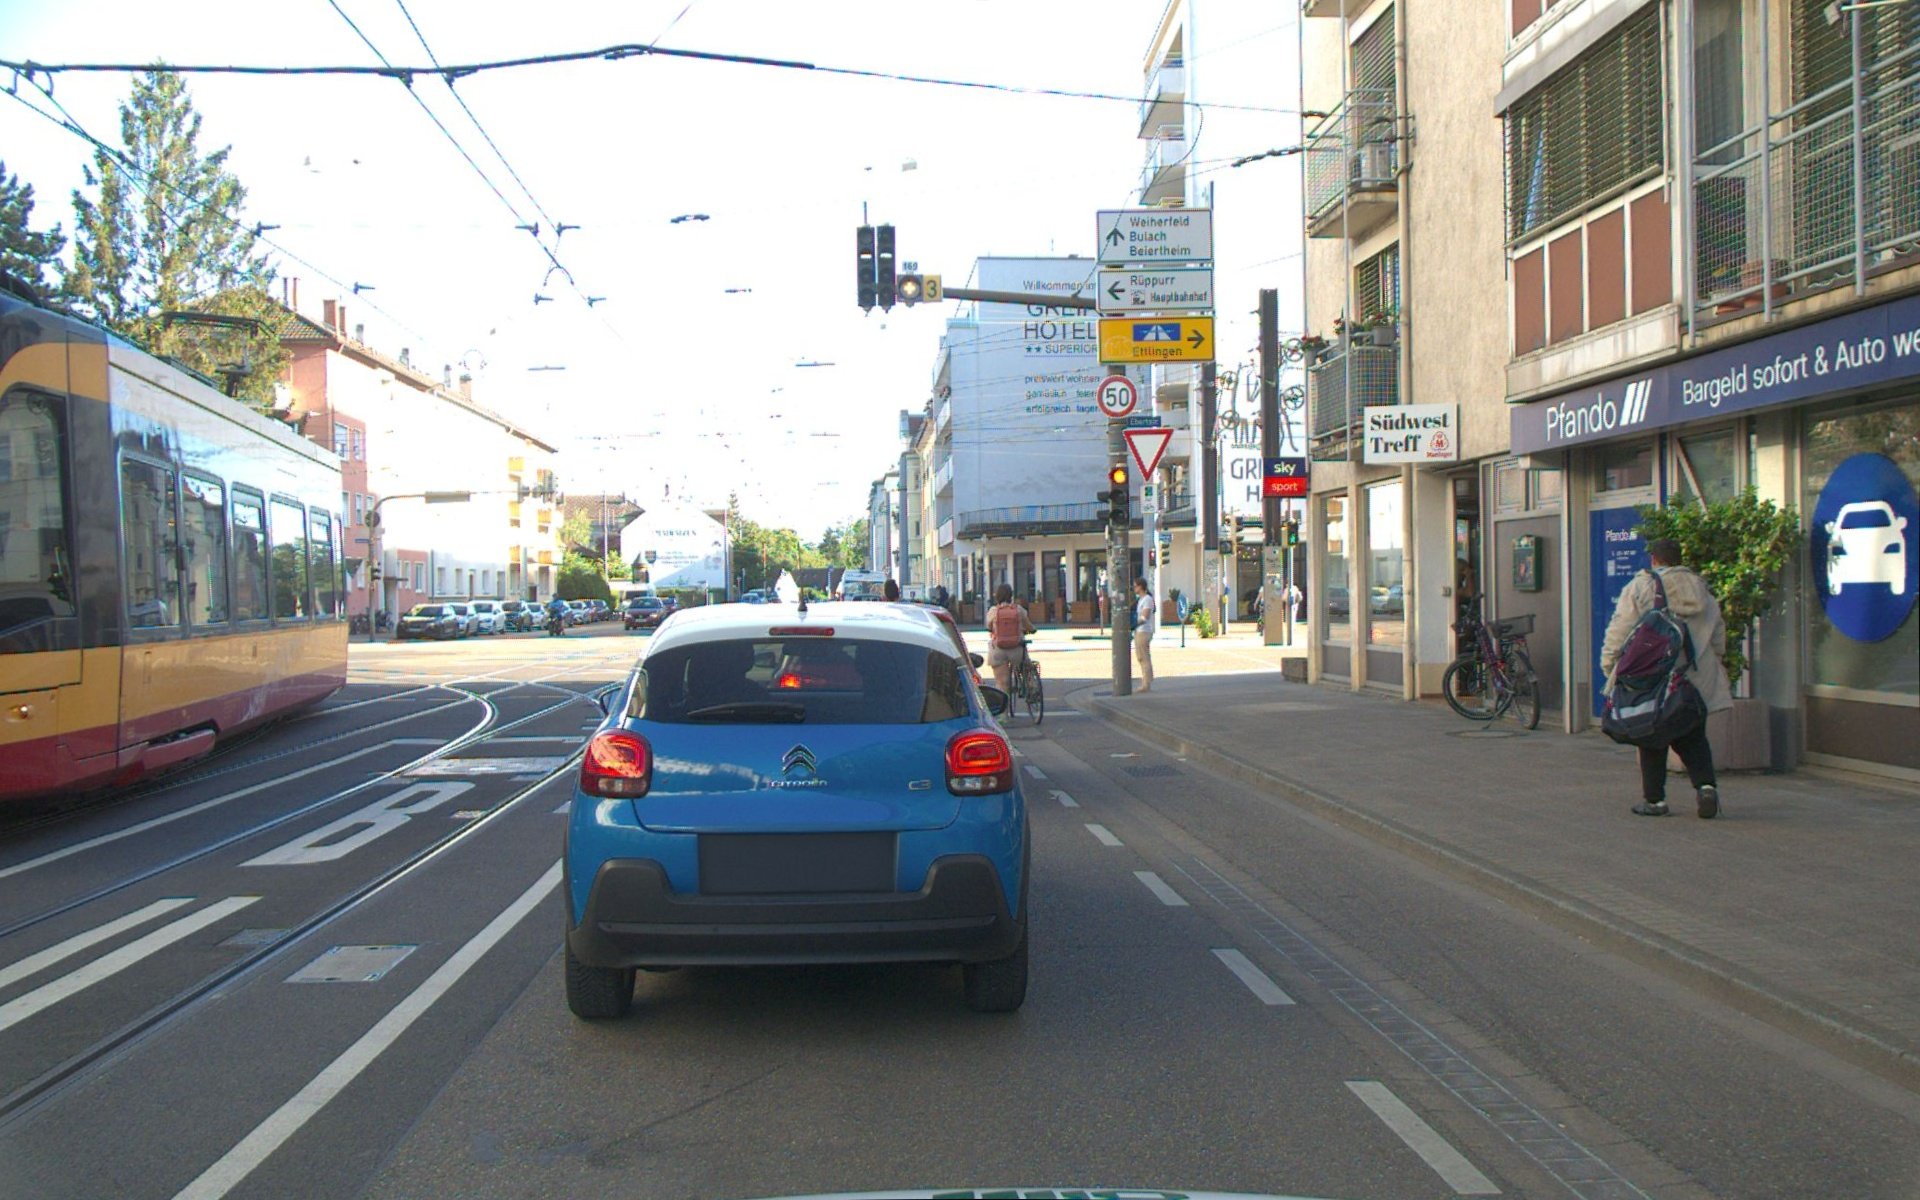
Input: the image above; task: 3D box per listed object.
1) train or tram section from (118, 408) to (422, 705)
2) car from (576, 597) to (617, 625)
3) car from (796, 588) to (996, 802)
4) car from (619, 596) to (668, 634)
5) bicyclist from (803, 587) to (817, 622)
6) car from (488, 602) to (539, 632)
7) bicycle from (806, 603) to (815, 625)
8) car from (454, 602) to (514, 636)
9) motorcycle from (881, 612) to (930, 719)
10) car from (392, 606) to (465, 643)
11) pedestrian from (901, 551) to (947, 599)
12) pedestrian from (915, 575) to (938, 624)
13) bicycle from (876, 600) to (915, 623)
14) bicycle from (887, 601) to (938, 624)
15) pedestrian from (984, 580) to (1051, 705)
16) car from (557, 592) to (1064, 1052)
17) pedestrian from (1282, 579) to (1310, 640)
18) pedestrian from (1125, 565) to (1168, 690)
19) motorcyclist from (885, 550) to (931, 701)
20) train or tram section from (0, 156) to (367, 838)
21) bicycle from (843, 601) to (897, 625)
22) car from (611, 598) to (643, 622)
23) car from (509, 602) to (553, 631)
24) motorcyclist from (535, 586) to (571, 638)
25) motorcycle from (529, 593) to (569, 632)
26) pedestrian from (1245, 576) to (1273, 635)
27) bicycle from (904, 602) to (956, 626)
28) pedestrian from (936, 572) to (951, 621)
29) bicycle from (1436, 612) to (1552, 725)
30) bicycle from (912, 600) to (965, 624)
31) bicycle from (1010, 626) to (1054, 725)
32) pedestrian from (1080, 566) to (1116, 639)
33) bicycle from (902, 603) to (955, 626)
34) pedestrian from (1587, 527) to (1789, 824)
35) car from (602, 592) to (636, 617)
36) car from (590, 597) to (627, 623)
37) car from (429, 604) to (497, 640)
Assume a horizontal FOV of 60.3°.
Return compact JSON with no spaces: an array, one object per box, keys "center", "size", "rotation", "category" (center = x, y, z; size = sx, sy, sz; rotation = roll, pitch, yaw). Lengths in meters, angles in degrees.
[{"center":[-10.124,-0.533,25.321],"size":[2.777,3.694,9.053],"rotation":[1,0,-13],"category":"train or tram section"},{"center":[-23.218,0.694,105.771],"size":[1.944,1.716,3.997],"rotation":[1,0,-4],"category":"car"},{"center":[-0.474,0.685,13.216],"size":[1.395,1.493,2.923],"rotation":[-1,0,-1],"category":"car"},{"center":[-14.548,0.685,76.194],"size":[1.740,1.695,3.853],"rotation":[1,0,-4],"category":"car"},{"center":[-6.509,0.181,71.784],"size":[0.550,1.503,0.746],"rotation":[1,-1,-10],"category":"bicyclist"},{"center":[-23.095,0.872,85.656],"size":[1.750,1.524,3.997],"rotation":[1,0,-4],"category":"car"},{"center":[-6.491,0.601,71.663],"size":[0.342,0.919,1.856],"rotation":[1,0,-7],"category":"bicycle"},{"center":[-22.700,0.878,79.006],"size":[1.751,1.537,4.148],"rotation":[1,0,-2],"category":"car"},{"center":[-0.619,0.734,19.401],"size":[0.515,1.159,2.289],"rotation":[1,0,-1],"category":"motorcycle"},{"center":[-21.957,1.007,68.466],"size":[1.757,1.446,3.994],"rotation":[1,0,-2],"category":"car"},{"center":[-1.605,-1.084,73.509],"size":[1.953,2.049,3.999],"rotation":[1,0,-1],"category":"pedestrian"},{"center":[-1.408,-0.030,69.155],"size":[0.625,2.049,0.715],"rotation":[1,-1,-37],"category":"pedestrian"},{"center":[-2.697,0.481,69.360],"size":[1.751,0.917,0.365],"rotation":[1,-1,34],"category":"bicycle"},{"center":[-1.964,0.502,68.262],"size":[2.093,0.917,0.366],"rotation":[1,-1,-10],"category":"bicycle"},{"center":[0.697,0.514,20.249],"size":[0.761,1.486,0.681],"rotation":[1,-1,-1],"category":"pedestrian"},{"center":[-0.507,0.731,7.133],"size":[1.620,1.469,3.522],"rotation":[1,0,-1],"category":"car"},{"center":[9.422,0.273,46.359],"size":[0.736,1.686,0.884],"rotation":[1,-1,11],"category":"pedestrian"},{"center":[2.739,0.398,24.334],"size":[0.507,1.814,0.595],"rotation":[1,-1,-3],"category":"pedestrian"},{"center":[-0.611,0.293,19.591],"size":[0.516,1.746,0.717],"rotation":[1,-1,-1],"category":"motorcyclist"},{"center":[-7.670,-0.512,14.712],"size":[3.009,3.656,12.587],"rotation":[-1,0,-13],"category":"train or tram section"},{"center":[-3.604,0.526,66.147],"size":[2.093,0.917,0.366],"rotation":[1,-1,-10],"category":"bicycle"},{"center":[-24.318,0.702,120.937],"size":[1.809,1.716,3.871],"rotation":[1,0,-4],"category":"car"},{"center":[-23.752,0.912,91.690],"size":[1.699,1.524,3.996],"rotation":[1,0,-5],"category":"car"},{"center":[-16.448,0.464,66.808],"size":[1.162,2.049,1.274],"rotation":[-1,0,-4],"category":"motorcyclist"},{"center":[-16.470,0.497,66.370],"size":[0.905,1.512,3.723],"rotation":[1,0,-4],"category":"motorcycle"},{"center":[8.404,0.148,46.510],"size":[0.720,1.629,0.749],"rotation":[1,-1,12],"category":"pedestrian"},{"center":[-1.210,0.572,67.080],"size":[2.093,0.917,0.366],"rotation":[1,-1,-10],"category":"bicycle"},{"center":[-0.716,-0.161,70.216],"size":[0.565,2.049,0.625],"rotation":[1,-1,-3],"category":"pedestrian"},{"center":[5.093,0.629,15.877],"size":[0.531,1.016,1.705],"rotation":[1,0,-1],"category":"bicycle"},{"center":[-0.851,0.486,65.891],"size":[2.093,0.917,0.366],"rotation":[1,-1,-10],"category":"bicycle"},{"center":[0.882,0.910,20.526],"size":[0.419,1.142,1.998],"rotation":[1,0,-1],"category":"bicycle"},{"center":[3.914,0.070,47.002],"size":[0.907,2.049,0.759],"rotation":[1,-1,-1],"category":"pedestrian"},{"center":[-1.284,0.588,67.535],"size":[2.093,0.917,0.366],"rotation":[1,-1,-10],"category":"bicycle"},{"center":[4.156,0.416,9.488],"size":[0.808,1.620,0.751],"rotation":[1,-1,-1],"category":"pedestrian"},{"center":[-23.962,0.308,116.250],"size":[1.797,1.716,3.997],"rotation":[1,0,-4],"category":"car"},{"center":[-23.566,0.674,110.889],"size":[1.845,1.716,3.997],"rotation":[1,0,-4],"category":"car"},{"center":[-22.176,0.956,73.936],"size":[1.778,1.524,4.299],"rotation":[1,0,-1],"category":"car"}]
